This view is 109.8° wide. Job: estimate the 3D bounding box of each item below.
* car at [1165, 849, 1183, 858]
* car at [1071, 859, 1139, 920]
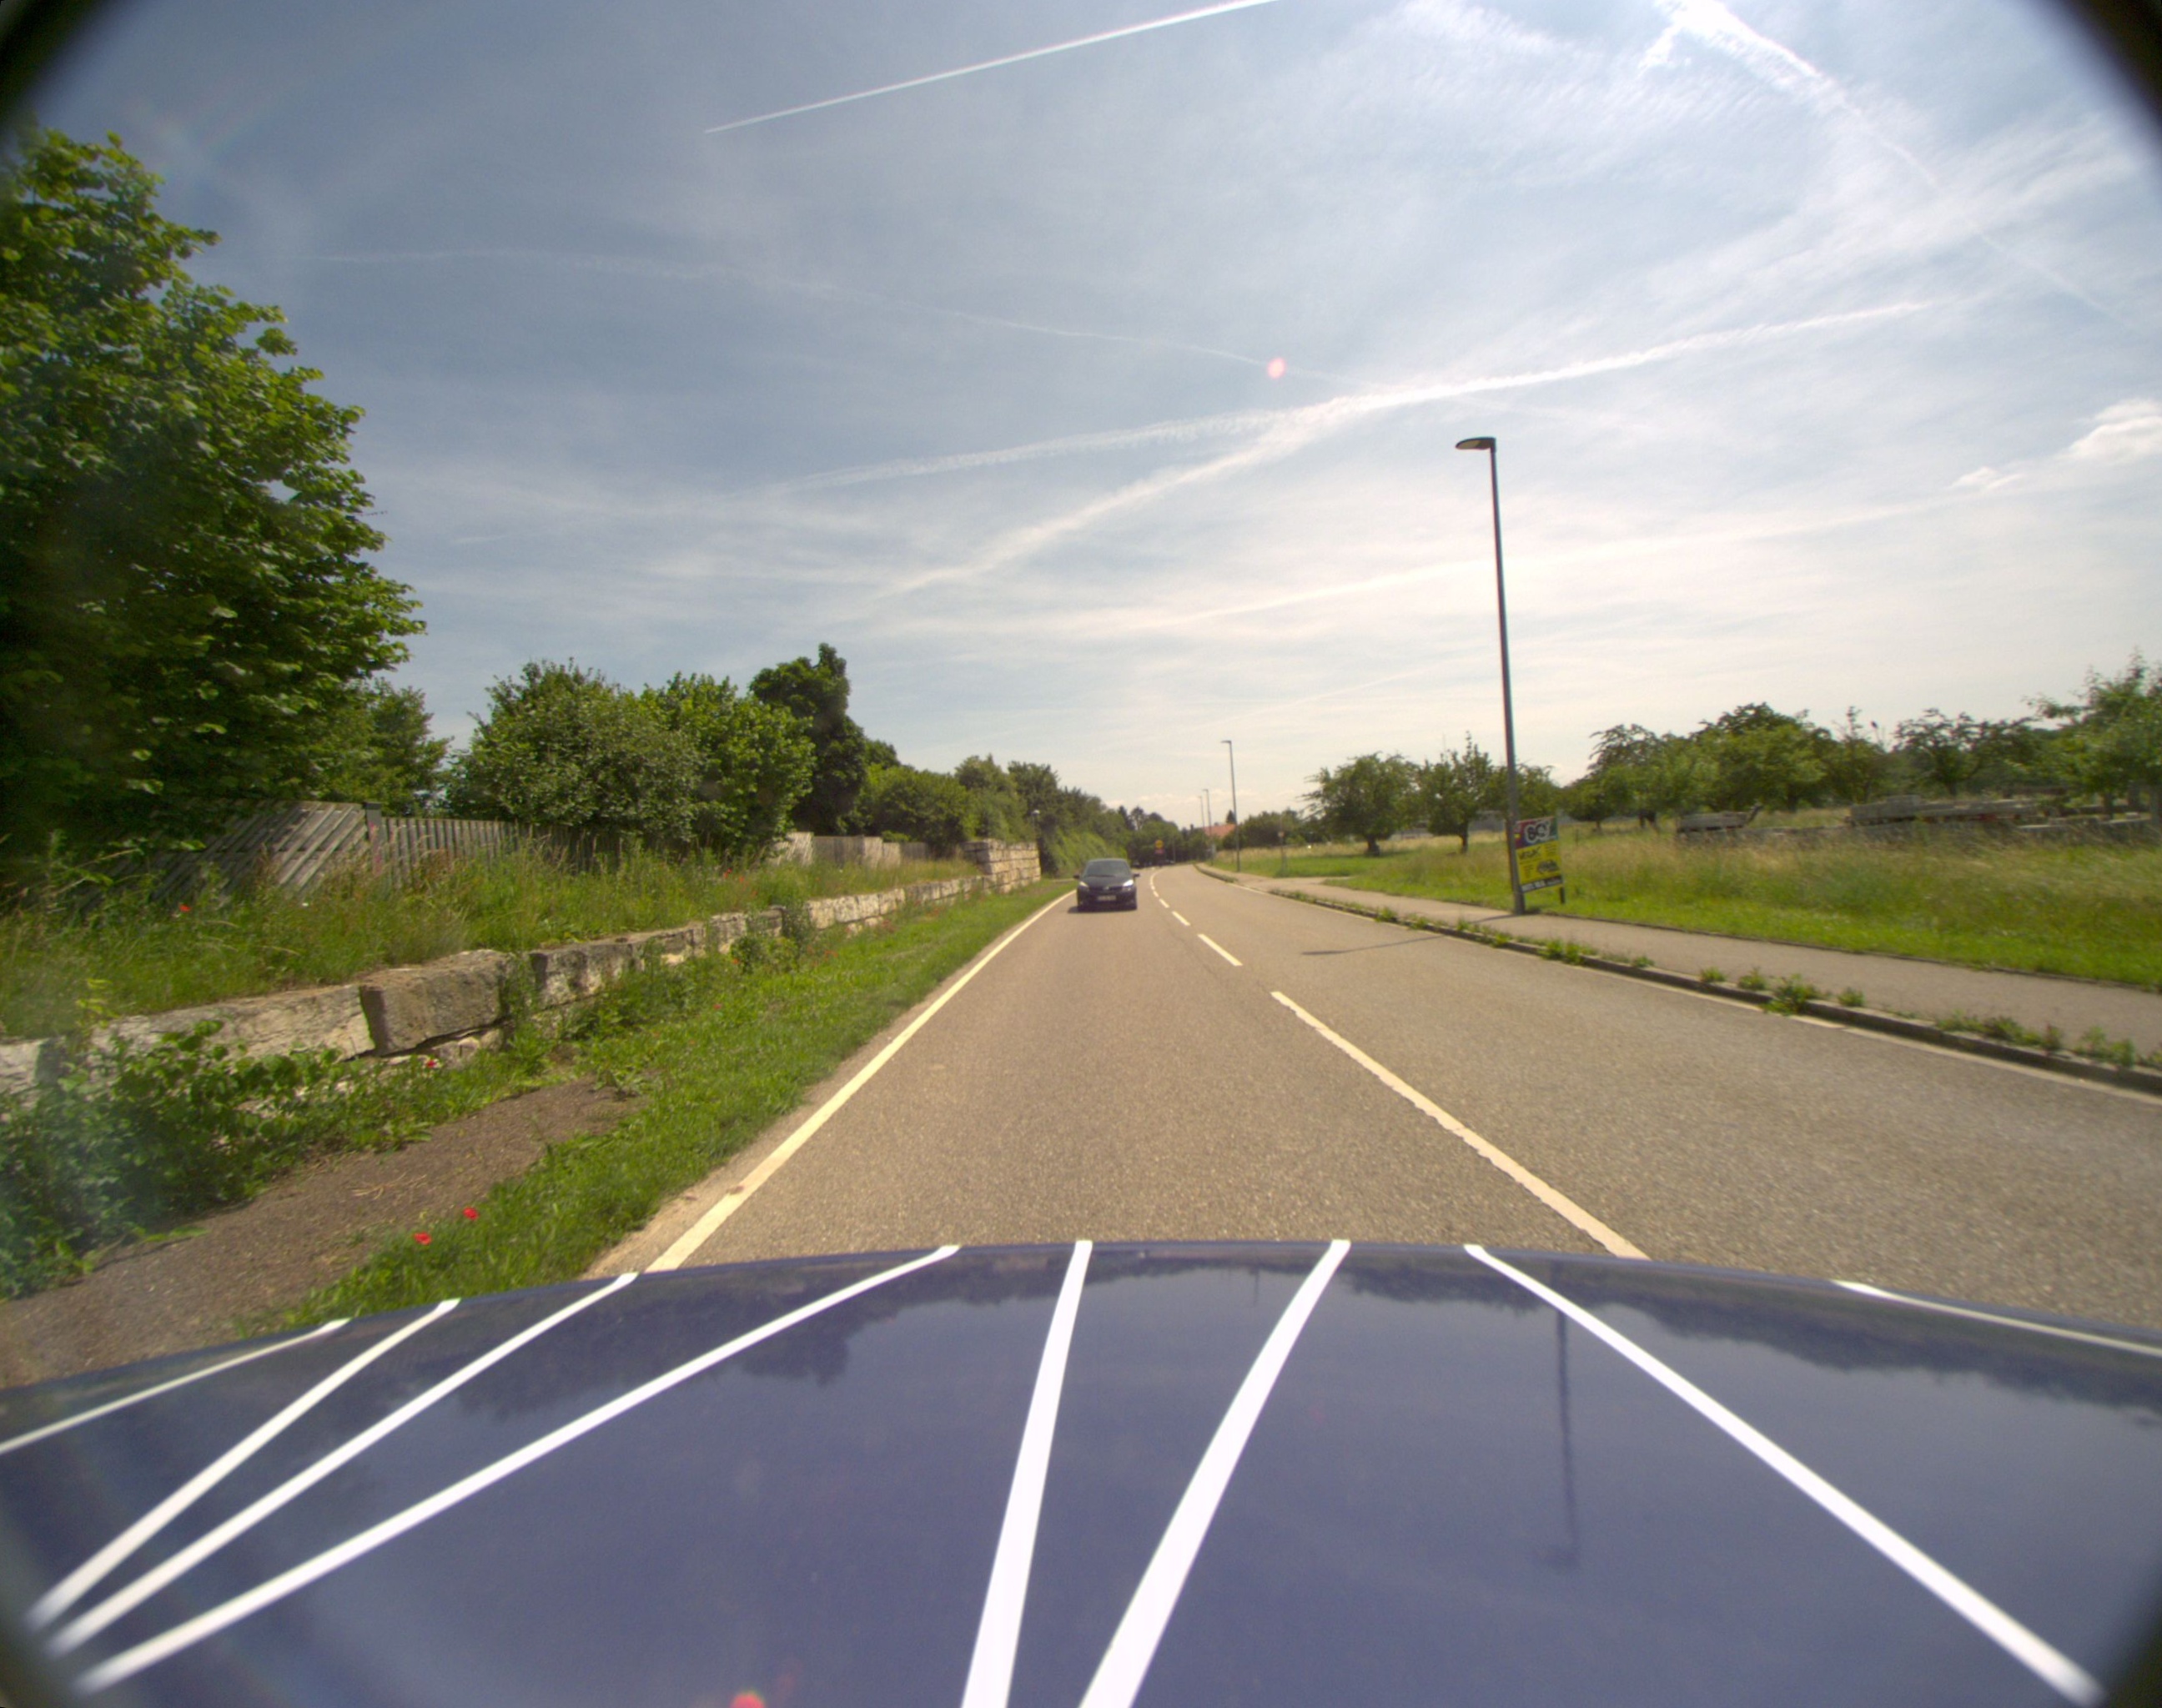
[{"bbox_3d":[25.597,-0.158,208.996,4.696,2.002,2.000,-4,1,5],"label":"car"},{"bbox_3d":[0.621,0.913,21.566,1.677,1.456,4.432,-2,0,0],"label":"car"}]
